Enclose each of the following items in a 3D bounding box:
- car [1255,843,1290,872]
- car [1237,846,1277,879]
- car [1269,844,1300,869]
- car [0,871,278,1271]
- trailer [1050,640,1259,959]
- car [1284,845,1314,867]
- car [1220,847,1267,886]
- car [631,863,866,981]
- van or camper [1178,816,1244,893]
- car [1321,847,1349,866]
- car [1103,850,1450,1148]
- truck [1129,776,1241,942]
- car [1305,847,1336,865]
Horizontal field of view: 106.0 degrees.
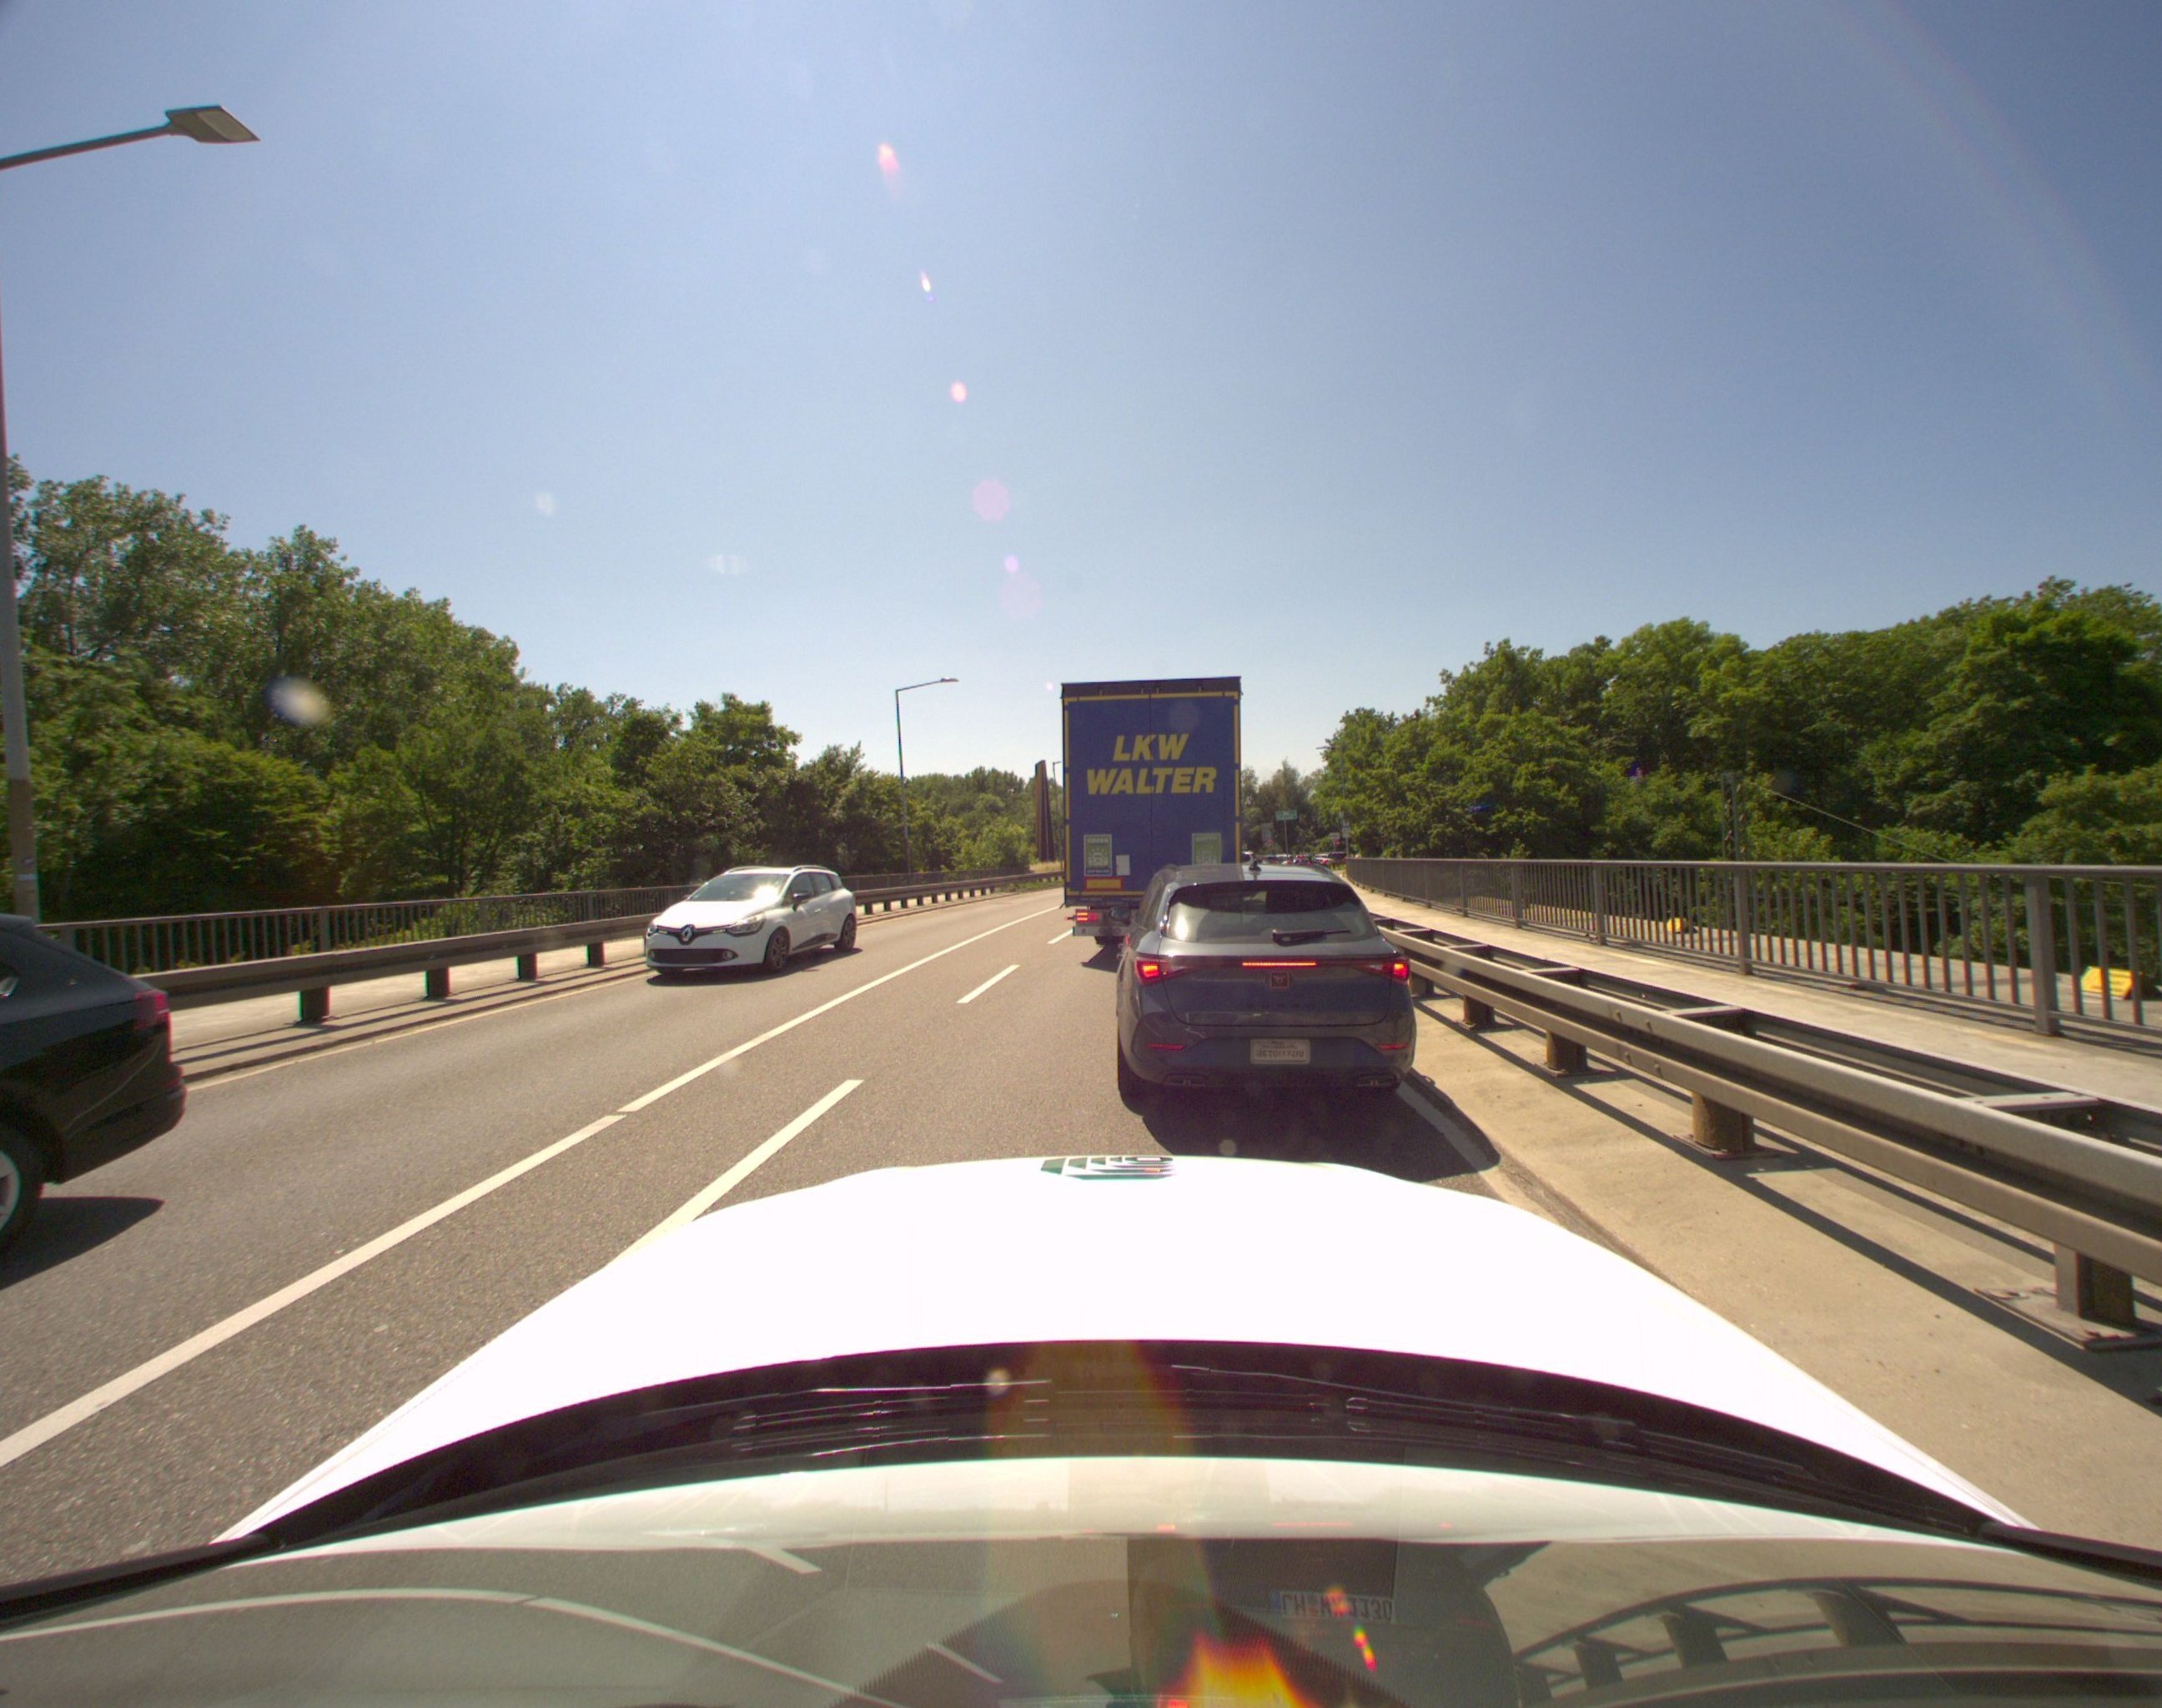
[{"bbox_3d":[13.005,0.232,55.092,1.706,1.844,4.021,-1,0,21],"label":"car"},{"bbox_3d":[10.252,0.473,47.218,1.706,1.802,4.020,-1,0,20],"label":"car"},{"bbox_3d":[15.343,0.162,61.301,1.706,1.844,4.021,-1,0,21],"label":"car"},{"bbox_3d":[-4.926,0.837,1.840,1.704,1.469,4.461,-1,0,1],"label":"car"},{"bbox_3d":[2.050,-0.753,17.662,2.887,4.418,12.466,-1,0,10],"label":"trailer"},{"bbox_3d":[18.206,0.195,67.888,1.670,1.760,4.023,-1,-1,25],"label":"car"},{"bbox_3d":[8.223,0.591,40.943,1.706,1.844,4.020,-1,0,20],"label":"car"},{"bbox_3d":[-4.777,0.889,12.394,1.592,1.449,4.061,-1,0,5],"label":"car"},{"bbox_3d":[5.486,0.012,33.632,2.139,2.815,6.411,-1,0,14],"label":"van or camper"},{"bbox_3d":[24.958,0.274,79.942,1.669,1.760,4.025,-2,-1,30],"label":"car"},{"bbox_3d":[1.106,0.733,6.024,1.669,1.456,3.963,-1,0,4],"label":"car"},{"bbox_3d":[3.335,0.134,25.110,2.887,4.418,6.573,-1,0,10],"label":"truck"},{"bbox_3d":[21.810,0.196,74.056,1.975,1.575,4.024,0,-1,28],"label":"car"}]
